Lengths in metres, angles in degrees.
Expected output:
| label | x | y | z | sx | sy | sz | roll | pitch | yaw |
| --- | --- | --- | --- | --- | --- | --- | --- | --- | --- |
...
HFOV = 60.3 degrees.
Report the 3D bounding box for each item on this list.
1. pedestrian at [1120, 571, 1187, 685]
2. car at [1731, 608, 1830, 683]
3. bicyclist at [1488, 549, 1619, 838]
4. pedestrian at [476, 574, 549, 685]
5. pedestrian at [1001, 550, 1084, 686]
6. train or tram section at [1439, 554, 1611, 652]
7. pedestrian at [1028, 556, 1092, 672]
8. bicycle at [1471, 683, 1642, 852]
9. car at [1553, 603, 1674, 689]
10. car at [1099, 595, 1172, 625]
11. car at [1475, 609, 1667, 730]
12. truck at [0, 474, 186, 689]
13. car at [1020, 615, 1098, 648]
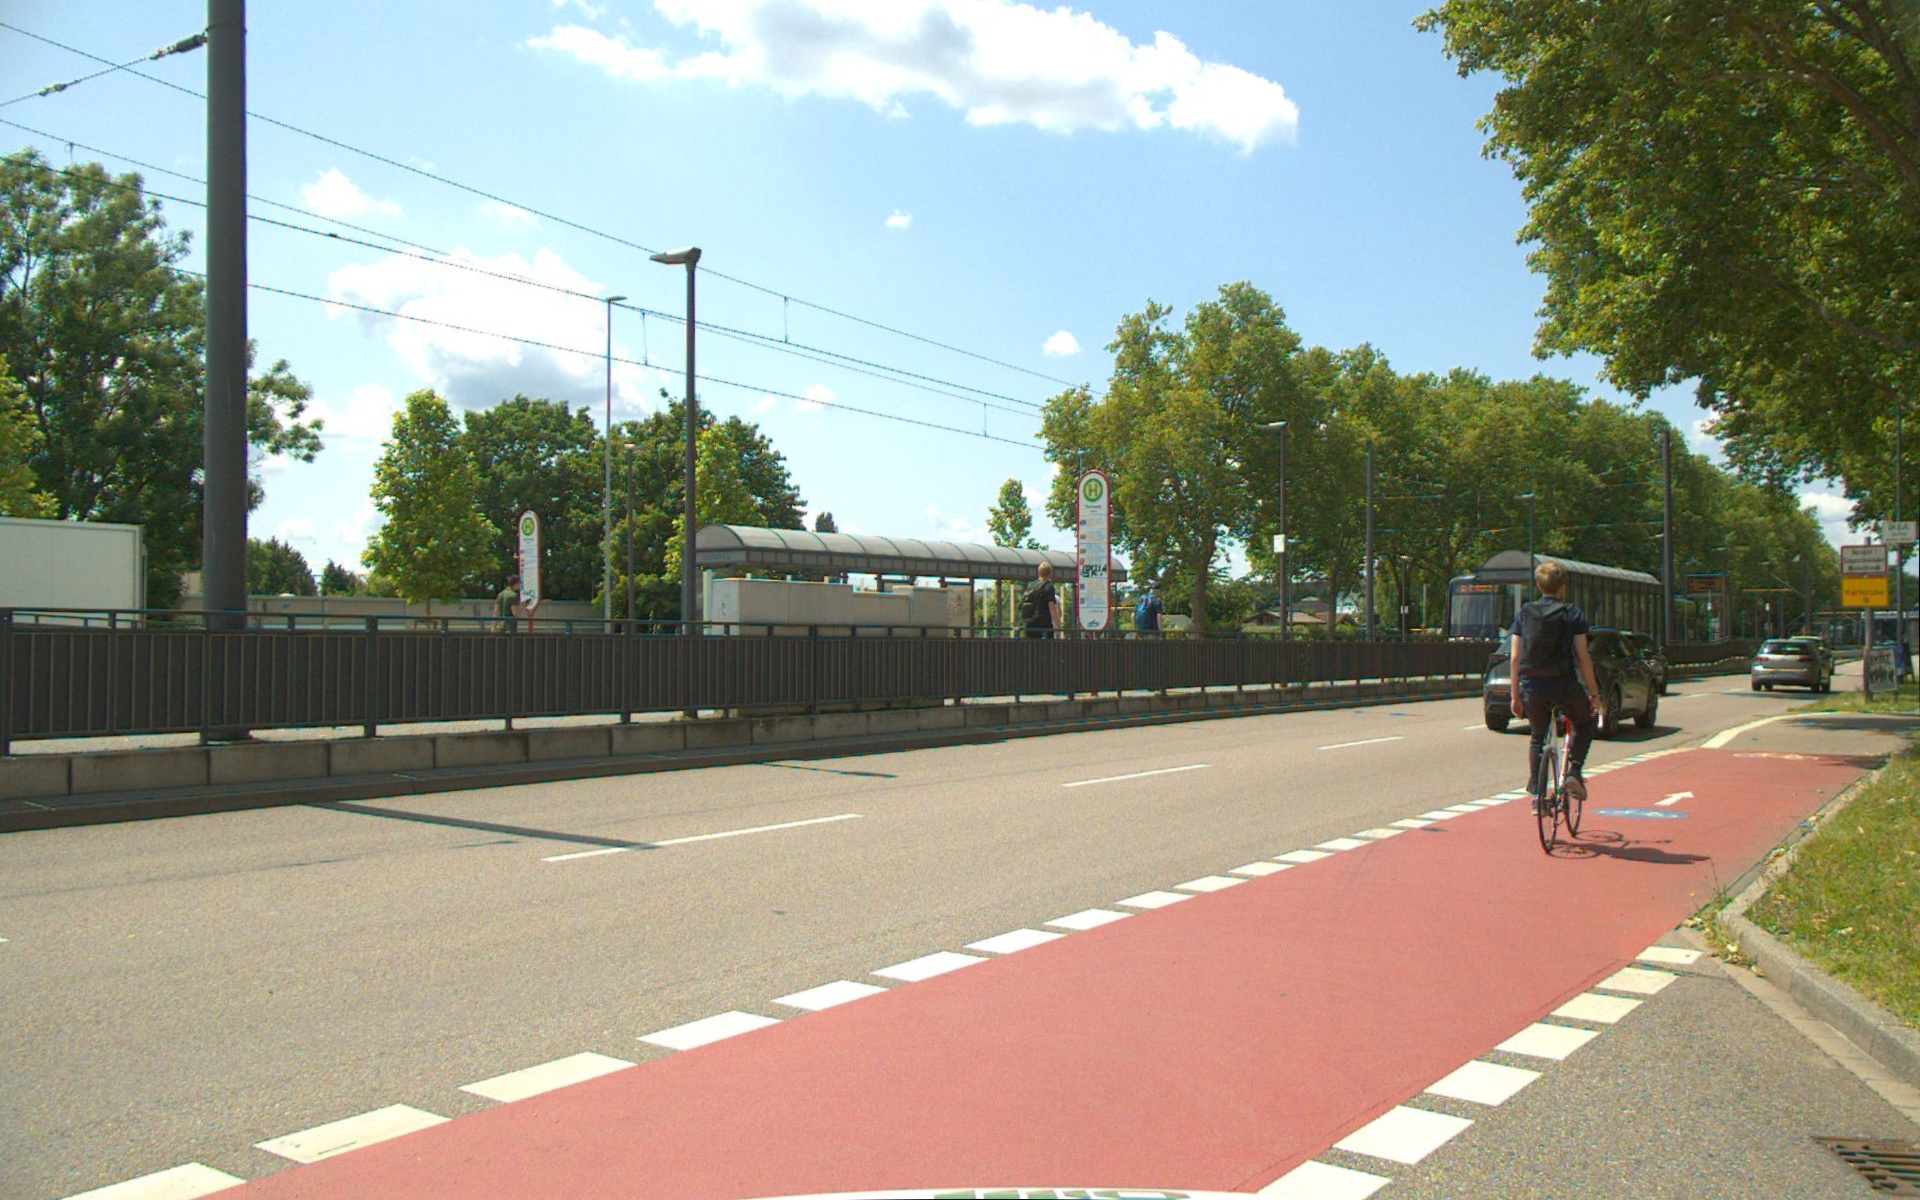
| label | x | y | z | sx | sy | sz | roll | pitch | yaw |
| --- | --- | --- | --- | --- | --- | --- | --- | --- | --- |
| pedestrian | 3.103 | 0.439 | 26.494 | 0.721 | 1.786 | 0.927 | 0 | -1 | 35 |
| car | 23.596 | 1.254 | 47.480 | 1.959 | 2.024 | 4.348 | 0 | 0 | 35 |
| bicyclist | 4.056 | 0.609 | 11.278 | 0.599 | 1.878 | 0.921 | 1 | -1 | 35 |
| pedestrian | -7.566 | 0.485 | 27.985 | 0.721 | 1.839 | 0.927 | 0 | -1 | 35 |
| pedestrian | 1.228 | 0.257 | 24.615 | 0.858 | 1.973 | 0.991 | 0 | 0 | 34 |
| train or tram section | 21.231 | 0.247 | 61.345 | 2.982 | 3.242 | 14.064 | -1 | -1 | 32 |
| pedestrian | 1.662 | 0.224 | 27.541 | 0.861 | 1.904 | 0.672 | 0 | 0 | -24 |
| bicycle | 4.151 | 1.106 | 11.417 | 0.609 | 1.017 | 2.016 | 1 | -1 | 35 |
| car | 16.654 | 1.103 | 42.032 | 1.959 | 2.024 | 4.349 | 1 | 0 | 34 |
| car | 10.258 | 0.569 | 96.774 | 3.849 | 1.691 | 1.903 | 0 | 0 | 36 |
| car | 9.583 | 1.009 | 25.731 | 1.864 | 1.704 | 4.506 | 0 | -1 | 33 |
| truck | -21.125 | -0.407 | 31.171 | 2.893 | 4.177 | 11.952 | 0 | -1 | 35 |
| car | 5.393 | 1.690 | 90.355 | 3.849 | 1.691 | 1.903 | 0 | 0 | 36 |
